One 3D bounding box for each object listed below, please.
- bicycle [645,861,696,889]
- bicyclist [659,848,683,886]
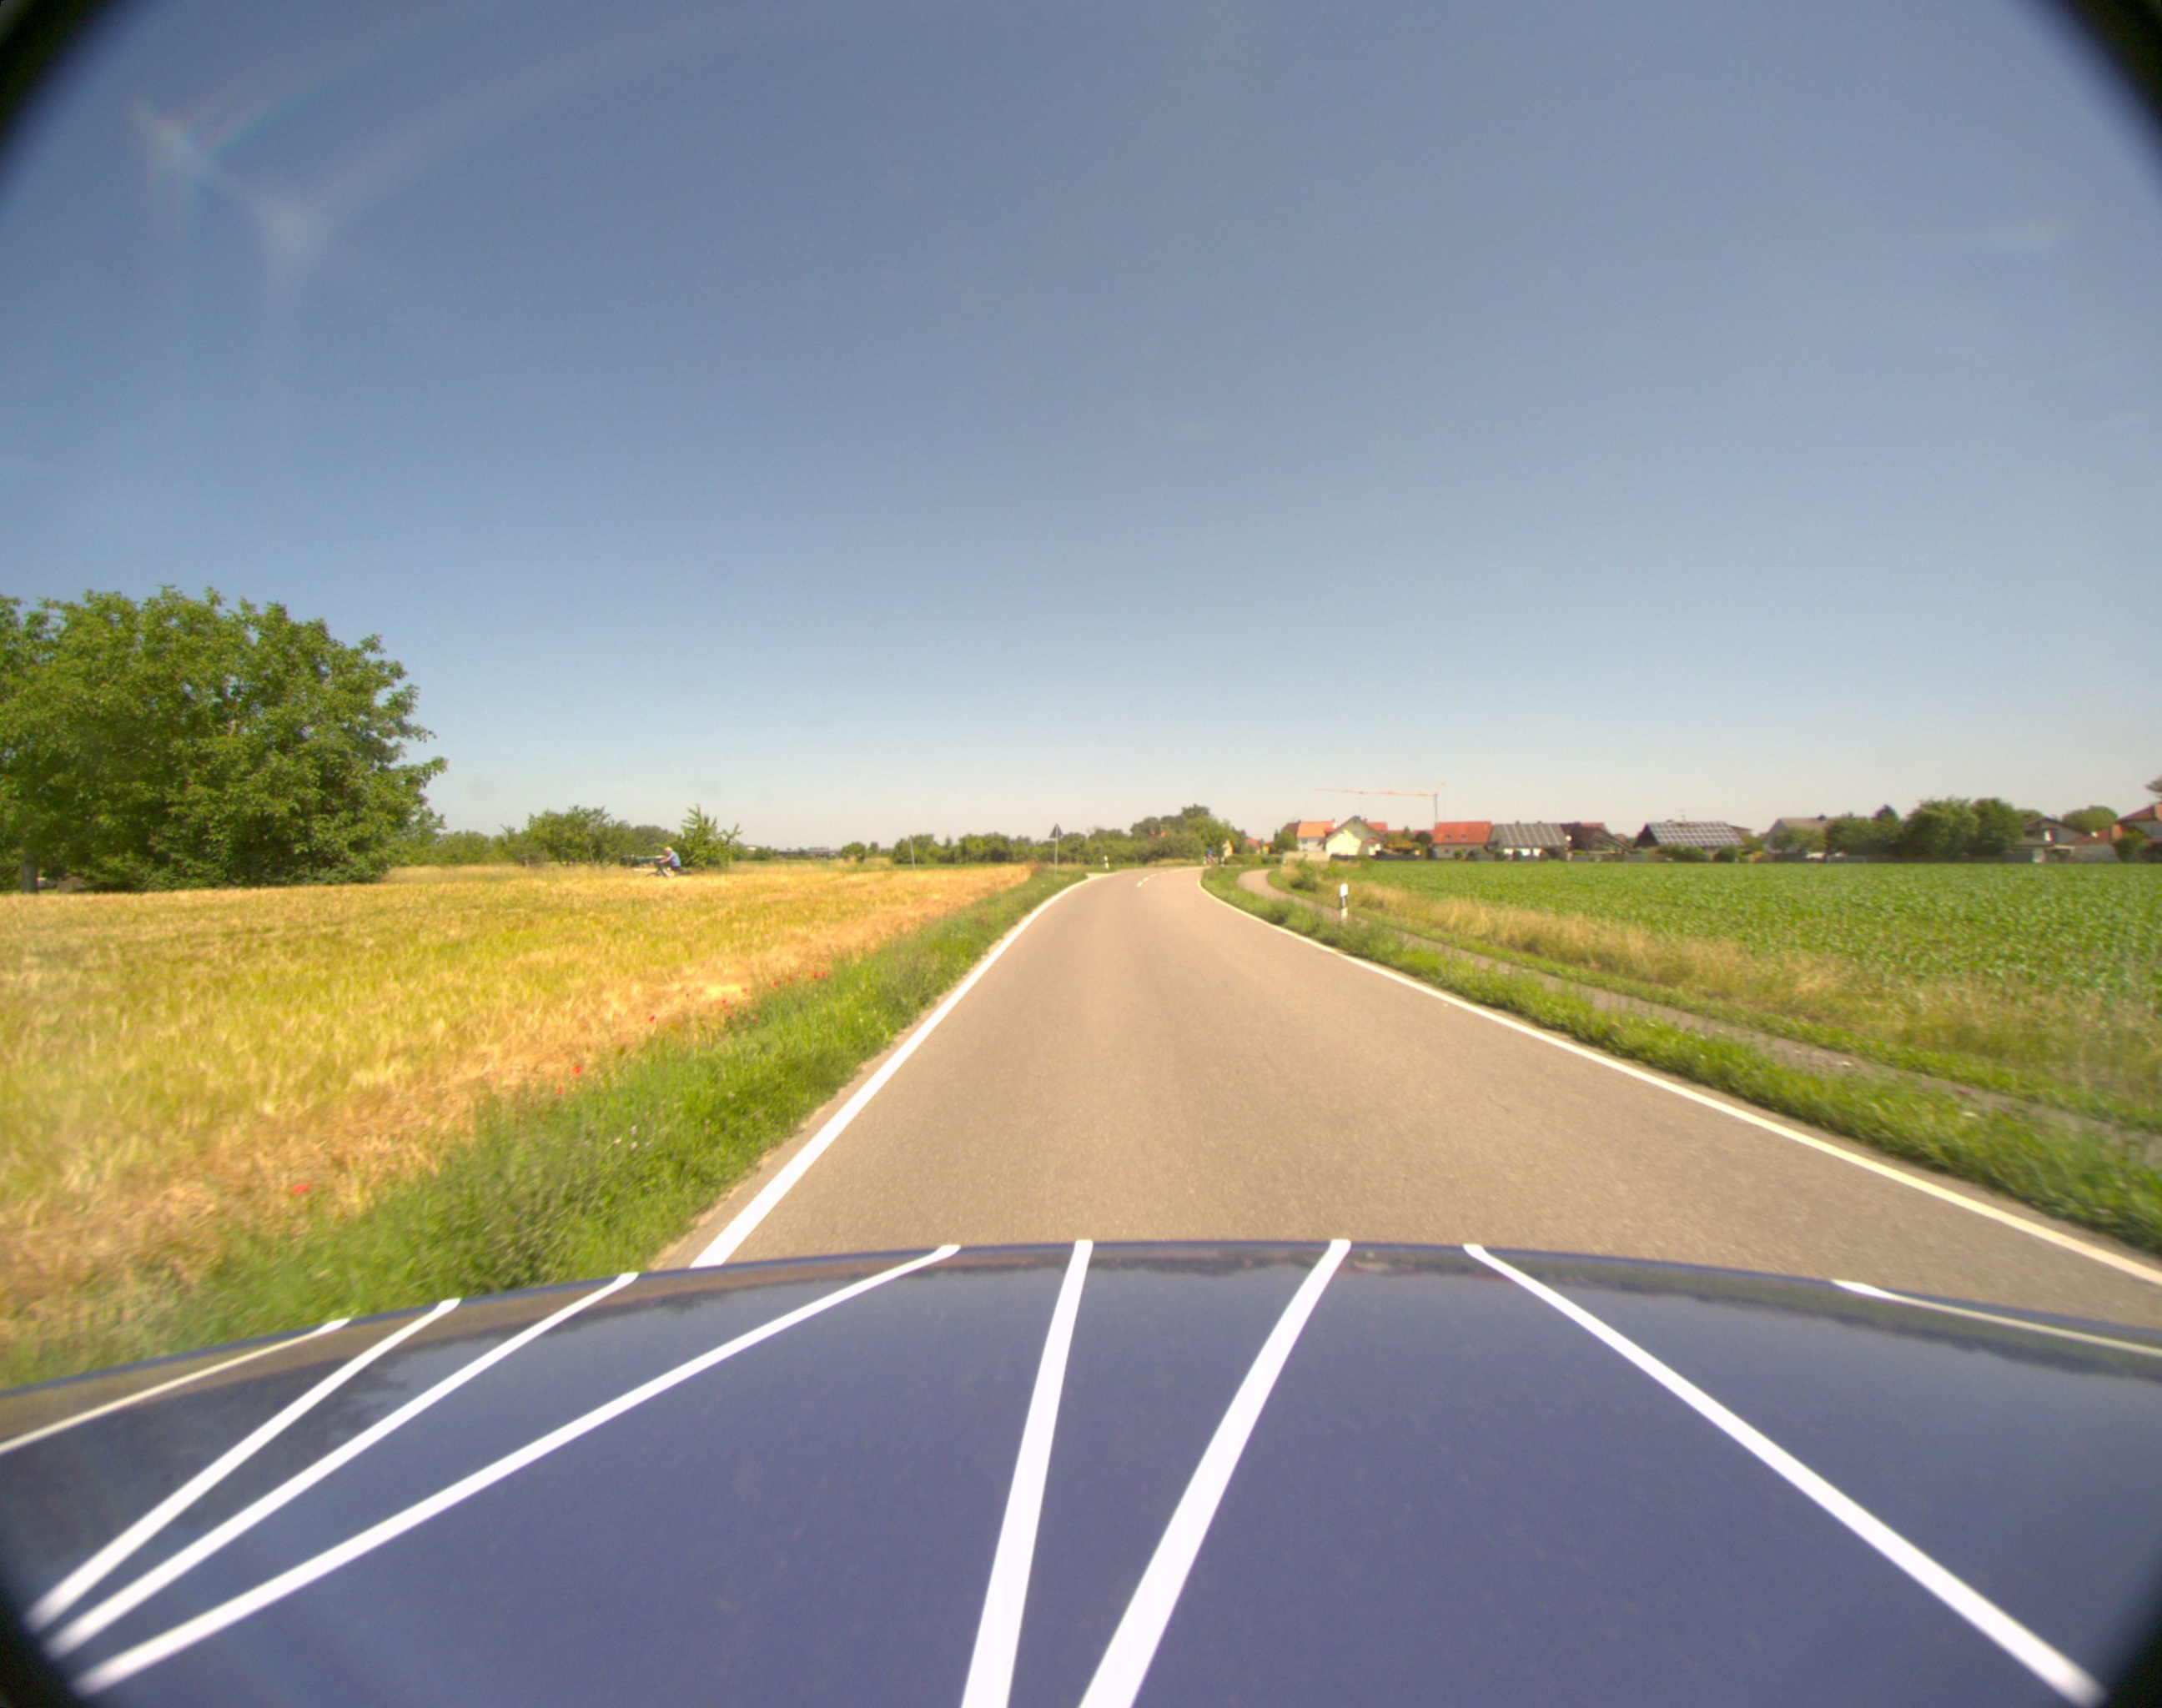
[{"bbox_3d":[-17.024,0.848,31.534,1.773,1.109,0.520,-1,1,-42],"label":"bicycle"},{"bbox_3d":[-17.024,0.529,31.530,0.737,1.564,0.673,-1,1,-41],"label":"bicyclist"}]
